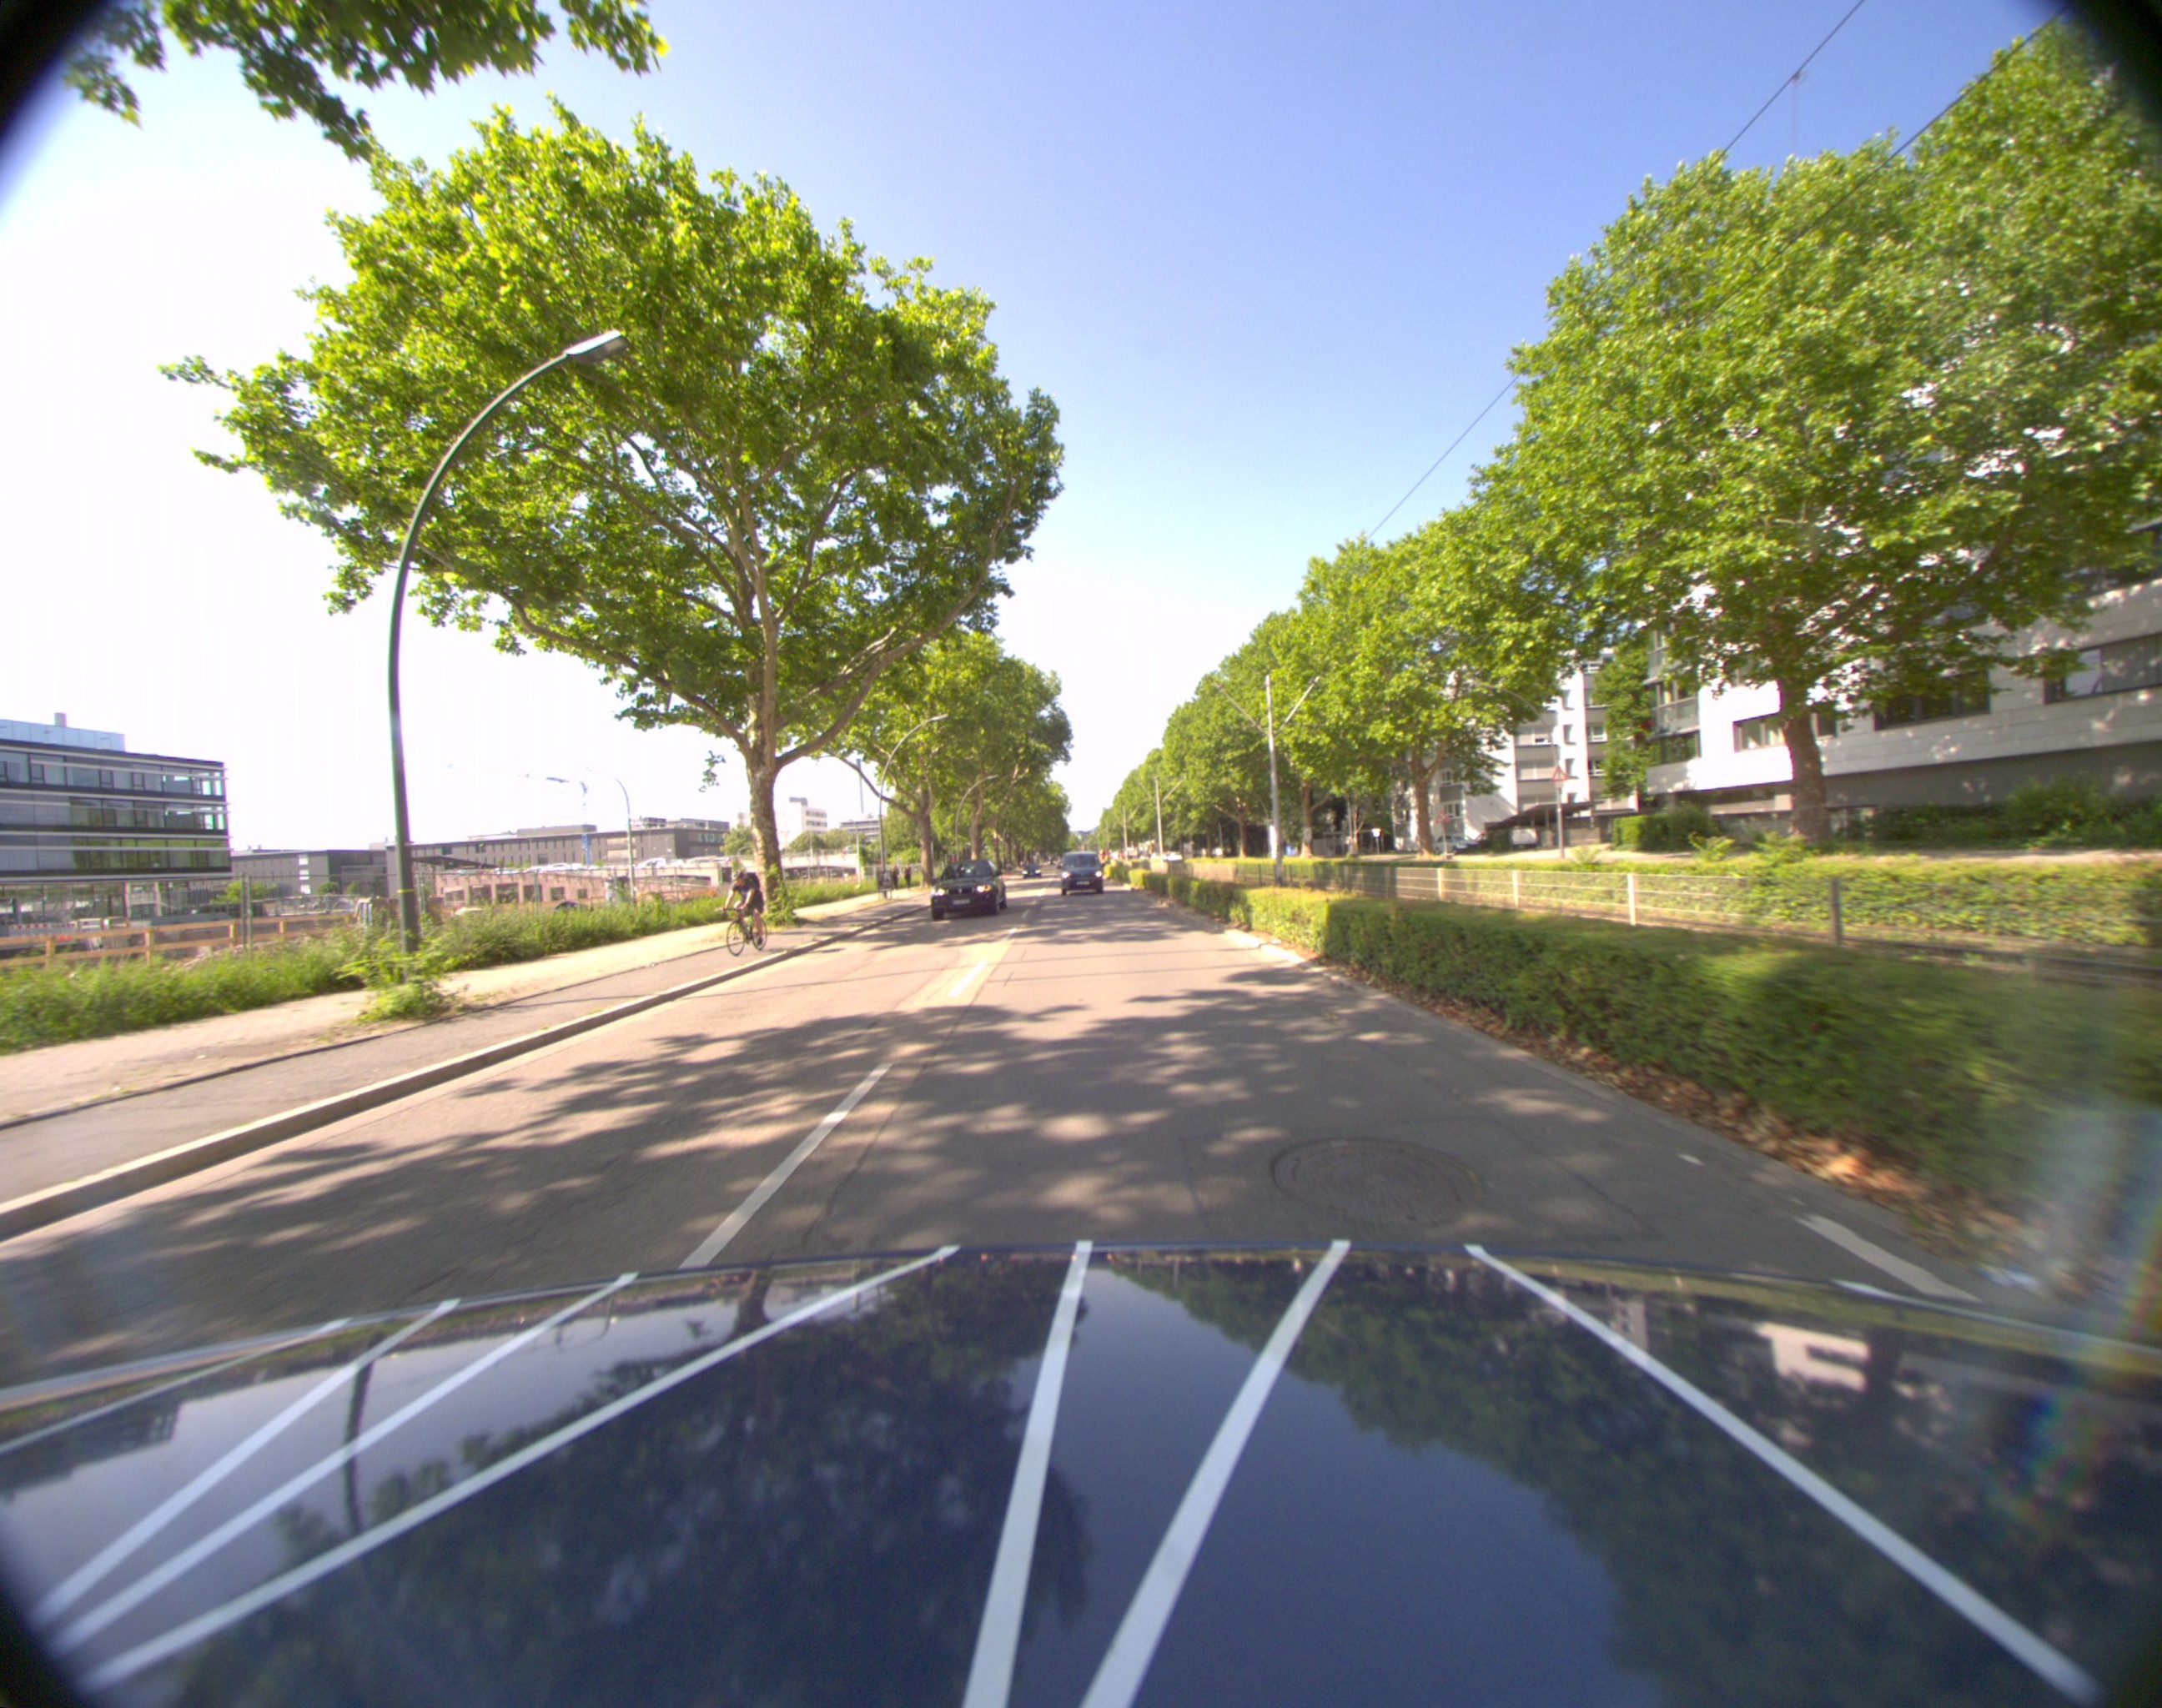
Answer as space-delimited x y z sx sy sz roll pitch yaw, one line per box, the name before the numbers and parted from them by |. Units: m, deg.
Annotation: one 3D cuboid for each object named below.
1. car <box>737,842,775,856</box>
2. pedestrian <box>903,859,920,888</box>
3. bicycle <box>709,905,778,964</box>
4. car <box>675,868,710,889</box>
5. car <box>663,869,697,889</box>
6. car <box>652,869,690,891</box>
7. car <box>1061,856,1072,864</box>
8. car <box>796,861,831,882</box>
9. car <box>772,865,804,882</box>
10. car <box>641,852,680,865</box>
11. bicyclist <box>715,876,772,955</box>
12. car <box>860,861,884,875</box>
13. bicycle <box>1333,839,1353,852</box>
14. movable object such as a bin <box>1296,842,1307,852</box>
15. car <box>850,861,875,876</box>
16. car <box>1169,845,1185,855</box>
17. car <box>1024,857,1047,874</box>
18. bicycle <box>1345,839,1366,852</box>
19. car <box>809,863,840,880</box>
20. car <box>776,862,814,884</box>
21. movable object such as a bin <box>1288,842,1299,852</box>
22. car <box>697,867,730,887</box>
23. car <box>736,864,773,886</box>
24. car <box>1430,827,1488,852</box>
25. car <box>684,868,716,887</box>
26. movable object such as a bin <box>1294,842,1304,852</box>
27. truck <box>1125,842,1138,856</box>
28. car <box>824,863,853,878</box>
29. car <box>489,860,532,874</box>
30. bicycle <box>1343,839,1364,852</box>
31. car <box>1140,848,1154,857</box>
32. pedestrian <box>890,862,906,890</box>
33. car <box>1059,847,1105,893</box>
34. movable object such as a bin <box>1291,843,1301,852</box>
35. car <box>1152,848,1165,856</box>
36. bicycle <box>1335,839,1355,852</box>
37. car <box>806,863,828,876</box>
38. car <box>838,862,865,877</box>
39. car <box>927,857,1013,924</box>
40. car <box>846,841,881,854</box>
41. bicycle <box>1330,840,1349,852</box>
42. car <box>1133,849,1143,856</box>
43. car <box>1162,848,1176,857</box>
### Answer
car | -41.734 -0.622 97.605 3.998 1.501 1.808 -4 0 -3
pedestrian | -10.428 1.204 46.812 0.711 1.714 1.066 -4 0 -1
bicycle | -6.713 1.582 15.201 0.599 0.974 1.781 -1 0 -1
car | -56.576 3.538 110.608 3.998 2.723 1.808 -4 0 -3
car | -61.834 3.823 117.254 3.998 2.723 1.808 -4 0 -3
car | -55.917 3.527 103.592 3.998 2.723 1.808 -4 0 -3
car | -2.685 1.185 145.767 1.854 1.418 4.151 -4 0 1
car | -39.177 2.531 111.259 4.375 2.723 1.808 -4 0 -3
car | -44.940 3.038 116.669 3.998 2.308 1.808 -4 0 -3
car | -55.190 0.574 99.856 3.998 1.501 1.808 -4 0 -3
bicyclist | -6.722 1.199 15.179 0.600 1.481 1.214 -1 0 -1
car | -40.041 2.636 145.666 3.998 2.308 1.808 -4 0 -3
bicycle | 26.049 -0.846 75.433 1.770 1.096 0.421 -4 1 -1
movable object such as a bin | 24.386 -0.737 84.045 0.898 1.031 0.546 -4 0 -1
car | -39.892 2.655 138.659 3.998 2.308 1.808 -4 0 -3
car | 15.017 -0.599 118.744 1.820 1.482 3.912 -2 0 -1
car | -4.471 1.138 74.683 1.854 1.418 4.151 -4 0 1
bicycle | 26.224 -0.846 72.593 1.770 1.096 0.421 -4 1 -1
car | -39.512 2.717 117.013 3.998 2.308 1.808 -4 0 -3
car | -39.176 2.558 104.227 4.375 2.723 1.808 -4 0 -3
movable object such as a bin | 24.400 -0.803 87.213 0.898 1.182 1.099 -4 0 -1
car | -56.776 3.523 117.491 3.998 2.723 1.808 -4 0 -3
car | -44.736 2.868 104.171 3.998 2.723 1.808 -4 0 -3
car | 26.471 -1.010 53.342 1.747 1.541 4.348 -4 0 -1
car | -62.239 3.819 124.143 3.998 2.723 1.808 -4 0 -3
movable object such as a bin | 24.442 -0.744 85.167 0.898 1.031 0.546 -4 0 -1
truck | 13.328 -1.296 199.973 2.752 3.259 6.540 -4 0 -1
car | -39.881 2.707 125.048 3.998 2.308 1.808 -4 0 -3
car | -72.701 1.630 96.865 3.998 1.501 1.808 -4 0 -3
bicycle | 26.204 -0.846 73.091 1.770 1.096 0.421 -4 1 -1
car | 12.050 -0.222 138.881 1.860 1.445 3.999 -4 0 -1
pedestrian | -11.319 1.347 46.983 0.697 1.673 0.959 -4 0 -1
car | 0.088 0.646 33.403 1.789 1.839 4.000 -3 0 1
movable object such as a bin | 24.445 -0.749 86.339 0.898 1.031 0.546 -4 0 -1
car | 14.908 -0.324 146.438 1.860 1.445 3.999 -4 0 -1
bicycle | 26.025 -0.843 74.971 1.770 1.096 0.421 -4 1 -1
car | -57.636 3.385 165.702 3.998 2.723 1.808 -4 0 -3
car | -39.775 2.674 131.942 3.998 2.308 1.808 -4 0 -3
car | -3.388 1.053 23.925 1.924 1.720 4.151 -5 0 0
car | -28.723 -0.858 100.461 3.998 1.501 1.808 -4 0 -3
bicycle | 26.028 -0.850 76.519 1.770 1.096 0.421 -4 1 -1
car | 13.049 -0.309 174.618 1.701 1.406 3.891 -6 0 -1
car | 15.535 -0.222 134.806 1.856 1.445 3.999 -4 0 -1
